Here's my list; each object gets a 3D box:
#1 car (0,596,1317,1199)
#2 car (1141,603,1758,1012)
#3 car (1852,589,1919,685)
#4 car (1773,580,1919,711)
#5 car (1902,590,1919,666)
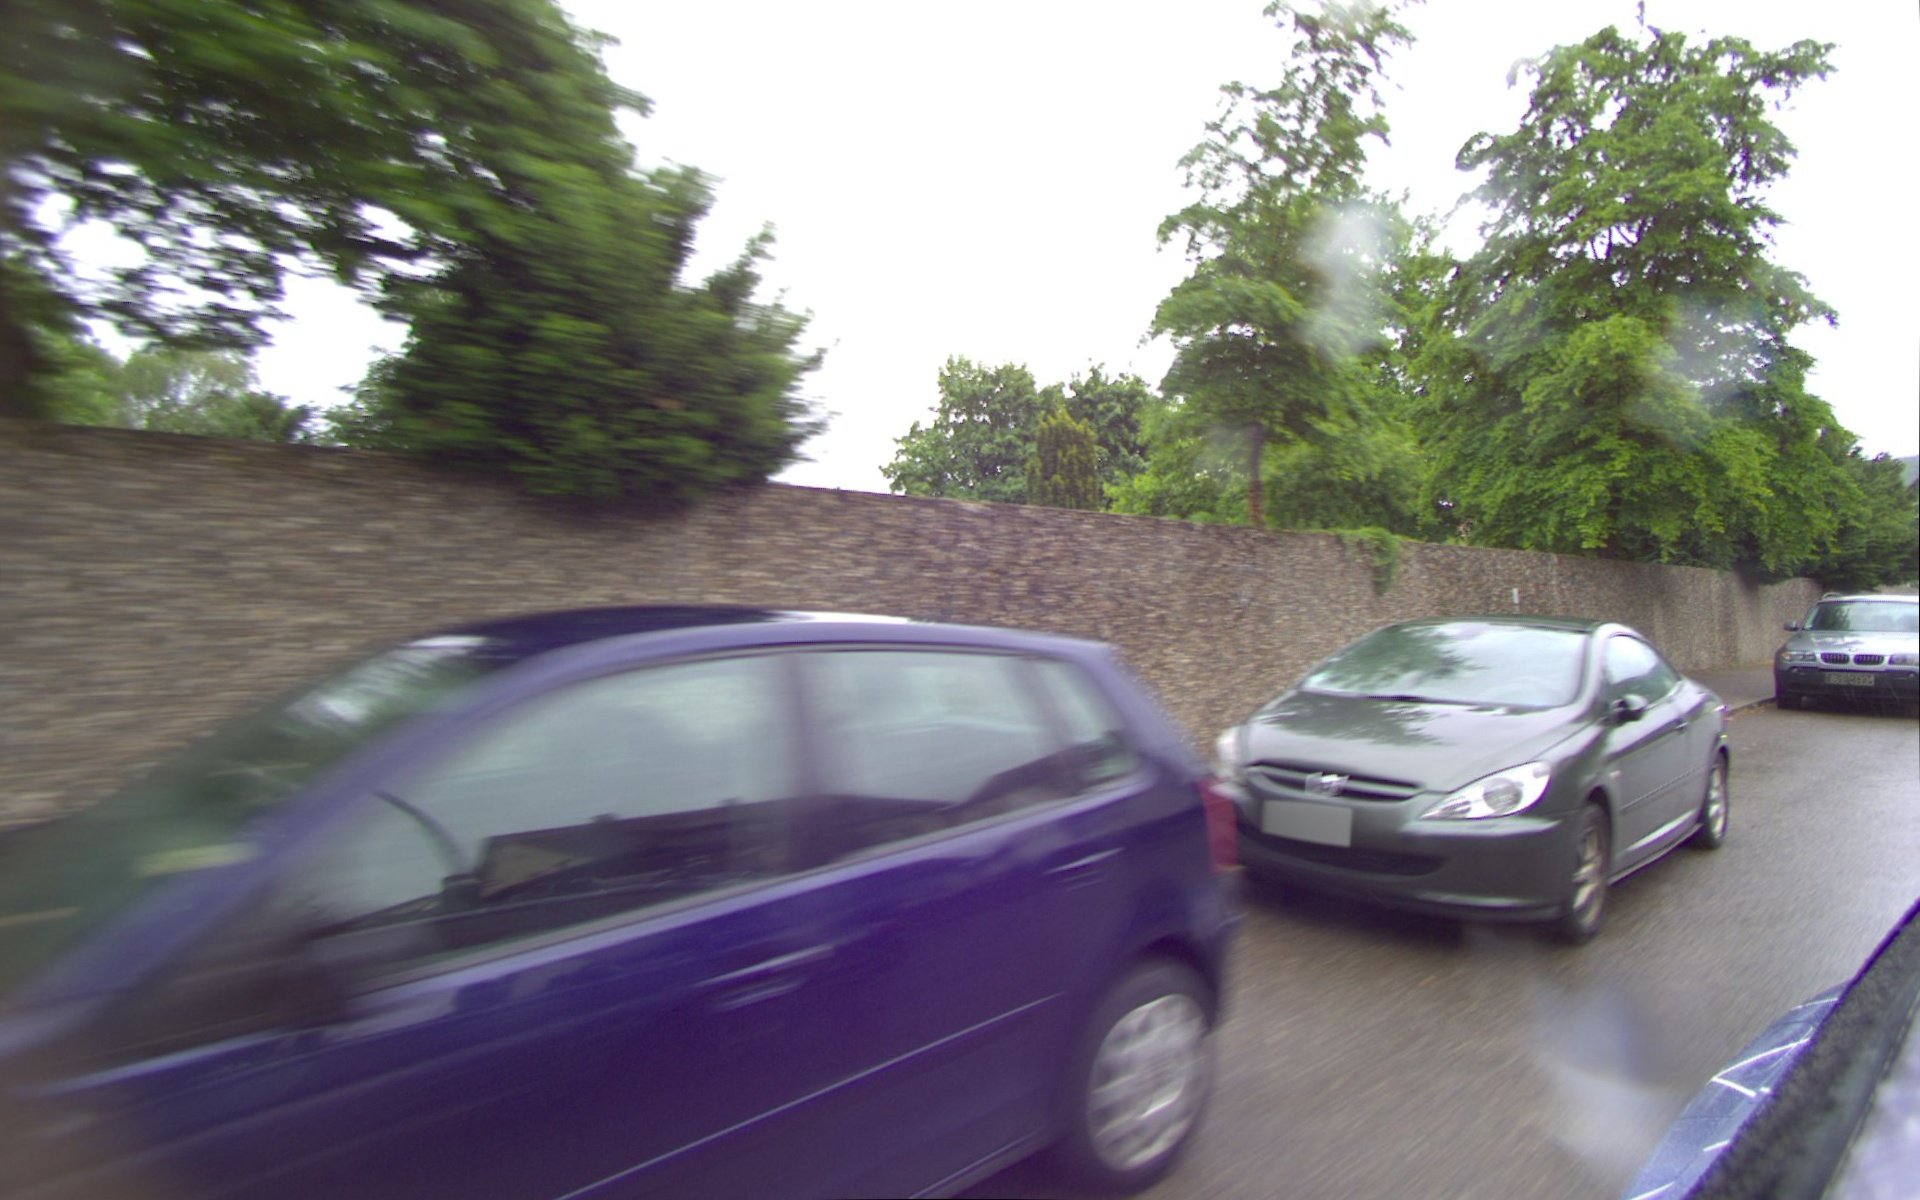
[{"bbox_3d":[-1.080,0.715,2.244,4.081,1.437,1.762,0,0,-41],"label":"car"},{"bbox_3d":[2.973,0.751,5.678,4.083,1.437,1.761,0,0,-43],"label":"car"},{"bbox_3d":[18.047,0.632,18.645,4.079,1.650,1.832,0,0,-40],"label":"car"},{"bbox_3d":[13.305,0.573,14.601,4.082,1.650,1.831,0,0,-42],"label":"car"},{"bbox_3d":[22.791,0.615,22.786,4.079,1.650,1.832,0,0,-40],"label":"car"}]
